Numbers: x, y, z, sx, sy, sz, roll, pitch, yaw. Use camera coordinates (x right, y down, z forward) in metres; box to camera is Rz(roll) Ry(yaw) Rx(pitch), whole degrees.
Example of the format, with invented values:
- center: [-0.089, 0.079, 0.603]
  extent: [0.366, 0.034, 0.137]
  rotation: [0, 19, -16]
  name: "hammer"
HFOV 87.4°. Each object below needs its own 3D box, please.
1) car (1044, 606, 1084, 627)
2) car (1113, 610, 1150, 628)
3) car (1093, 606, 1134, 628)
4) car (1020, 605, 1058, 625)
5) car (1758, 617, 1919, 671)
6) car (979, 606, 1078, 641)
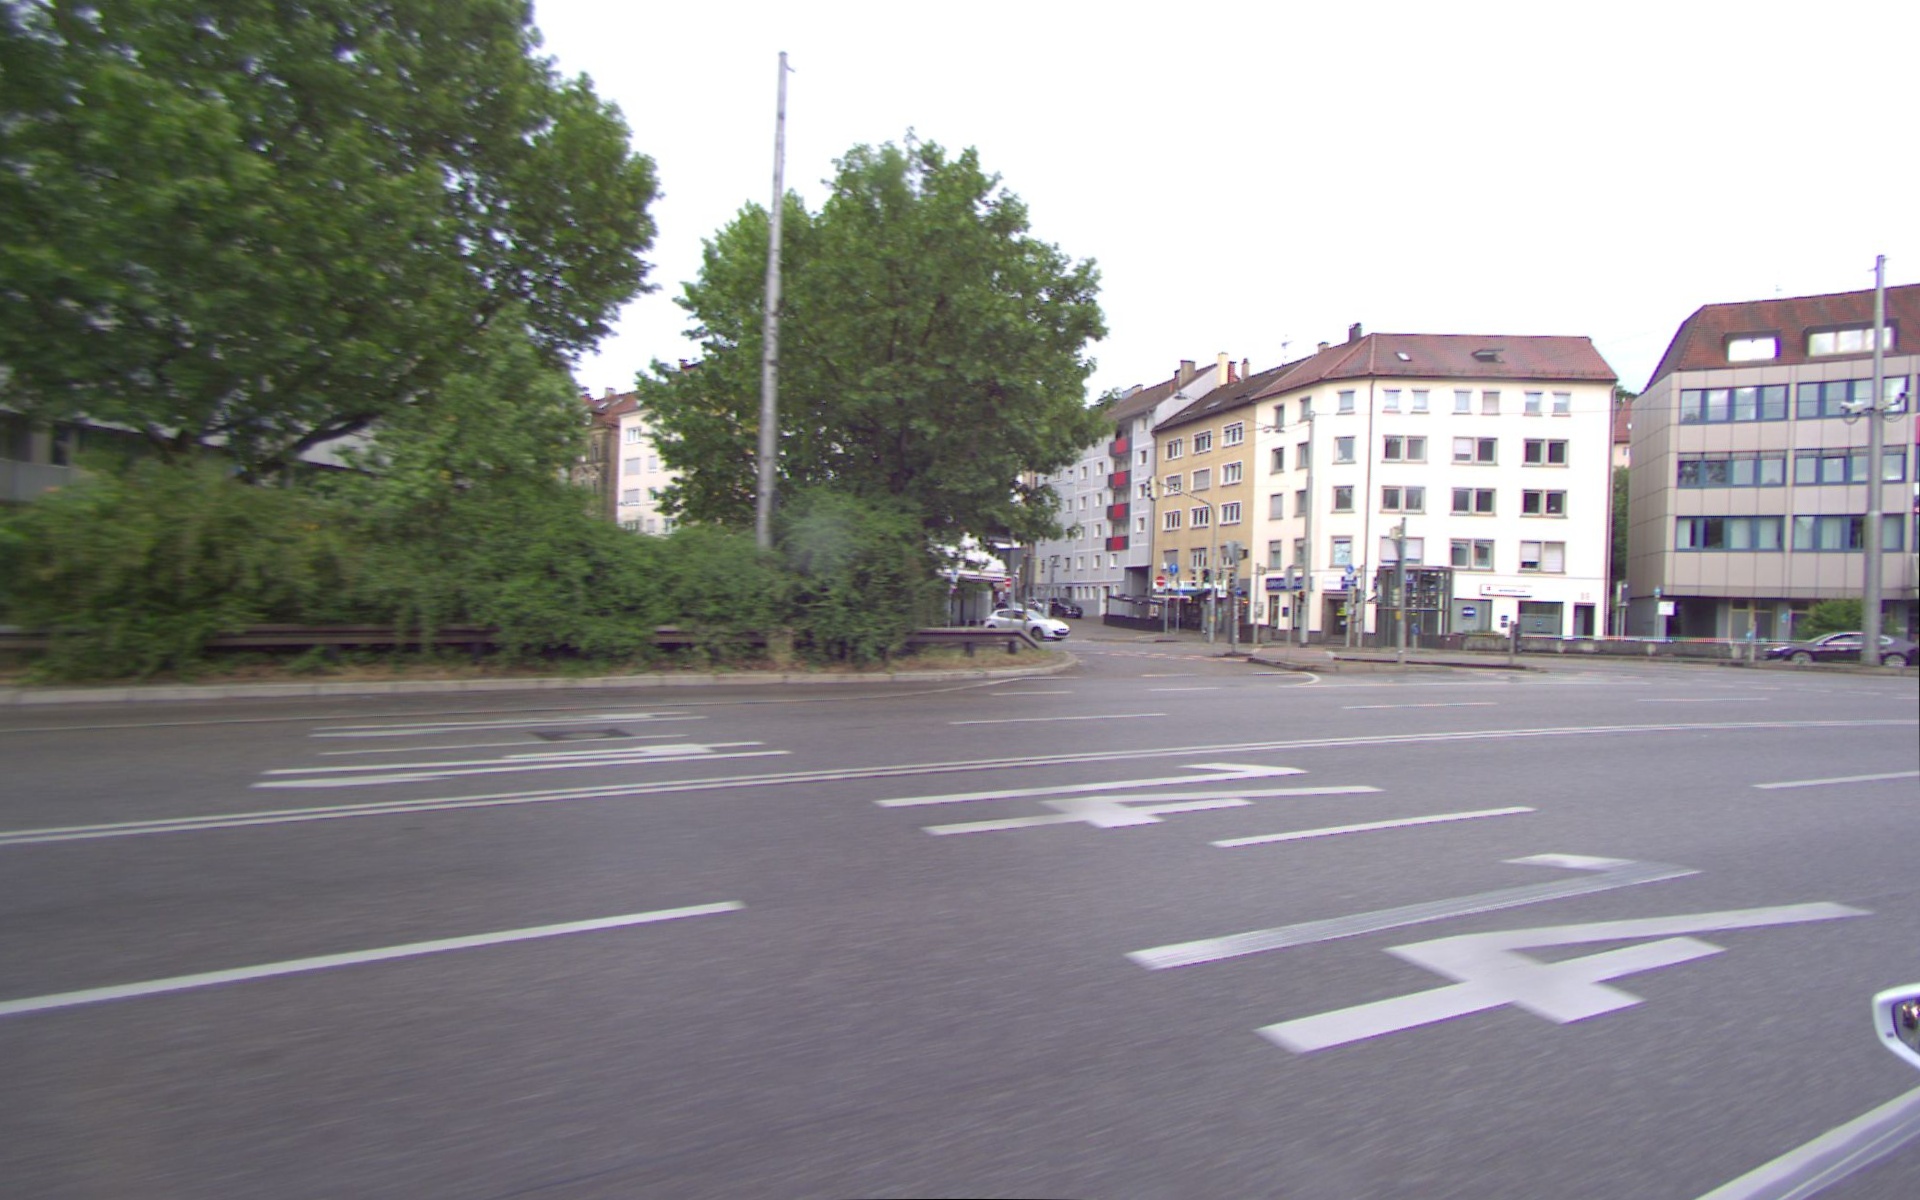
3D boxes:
- center: [8.699, 1.380, 84.468]
  extent: [1.888, 1.611, 3.986]
  rotation: [2, -2, -17]
  name: "car"
- center: [12.372, 1.347, 72.520]
  extent: [1.382, 1.246, 3.153]
  rotation: [2, -1, -17]
  name: "car"
- center: [12.002, 1.311, 78.792]
  extent: [1.732, 1.611, 3.784]
  rotation: [2, -1, -17]
  name: "car"
- center: [7.002, 1.344, 89.755]
  extent: [1.890, 1.612, 3.981]
  rotation: [2, 0, -20]
  name: "car"
- center: [33.707, 1.668, 38.671]
  extent: [4.361, 1.867, 1.997]
  rotation: [1, -2, 30]
  name: "car"
- center: [3.139, 1.071, 46.517]
  extent: [4.165, 1.470, 1.991]
  rotation: [1, -2, 41]
  name: "car"
